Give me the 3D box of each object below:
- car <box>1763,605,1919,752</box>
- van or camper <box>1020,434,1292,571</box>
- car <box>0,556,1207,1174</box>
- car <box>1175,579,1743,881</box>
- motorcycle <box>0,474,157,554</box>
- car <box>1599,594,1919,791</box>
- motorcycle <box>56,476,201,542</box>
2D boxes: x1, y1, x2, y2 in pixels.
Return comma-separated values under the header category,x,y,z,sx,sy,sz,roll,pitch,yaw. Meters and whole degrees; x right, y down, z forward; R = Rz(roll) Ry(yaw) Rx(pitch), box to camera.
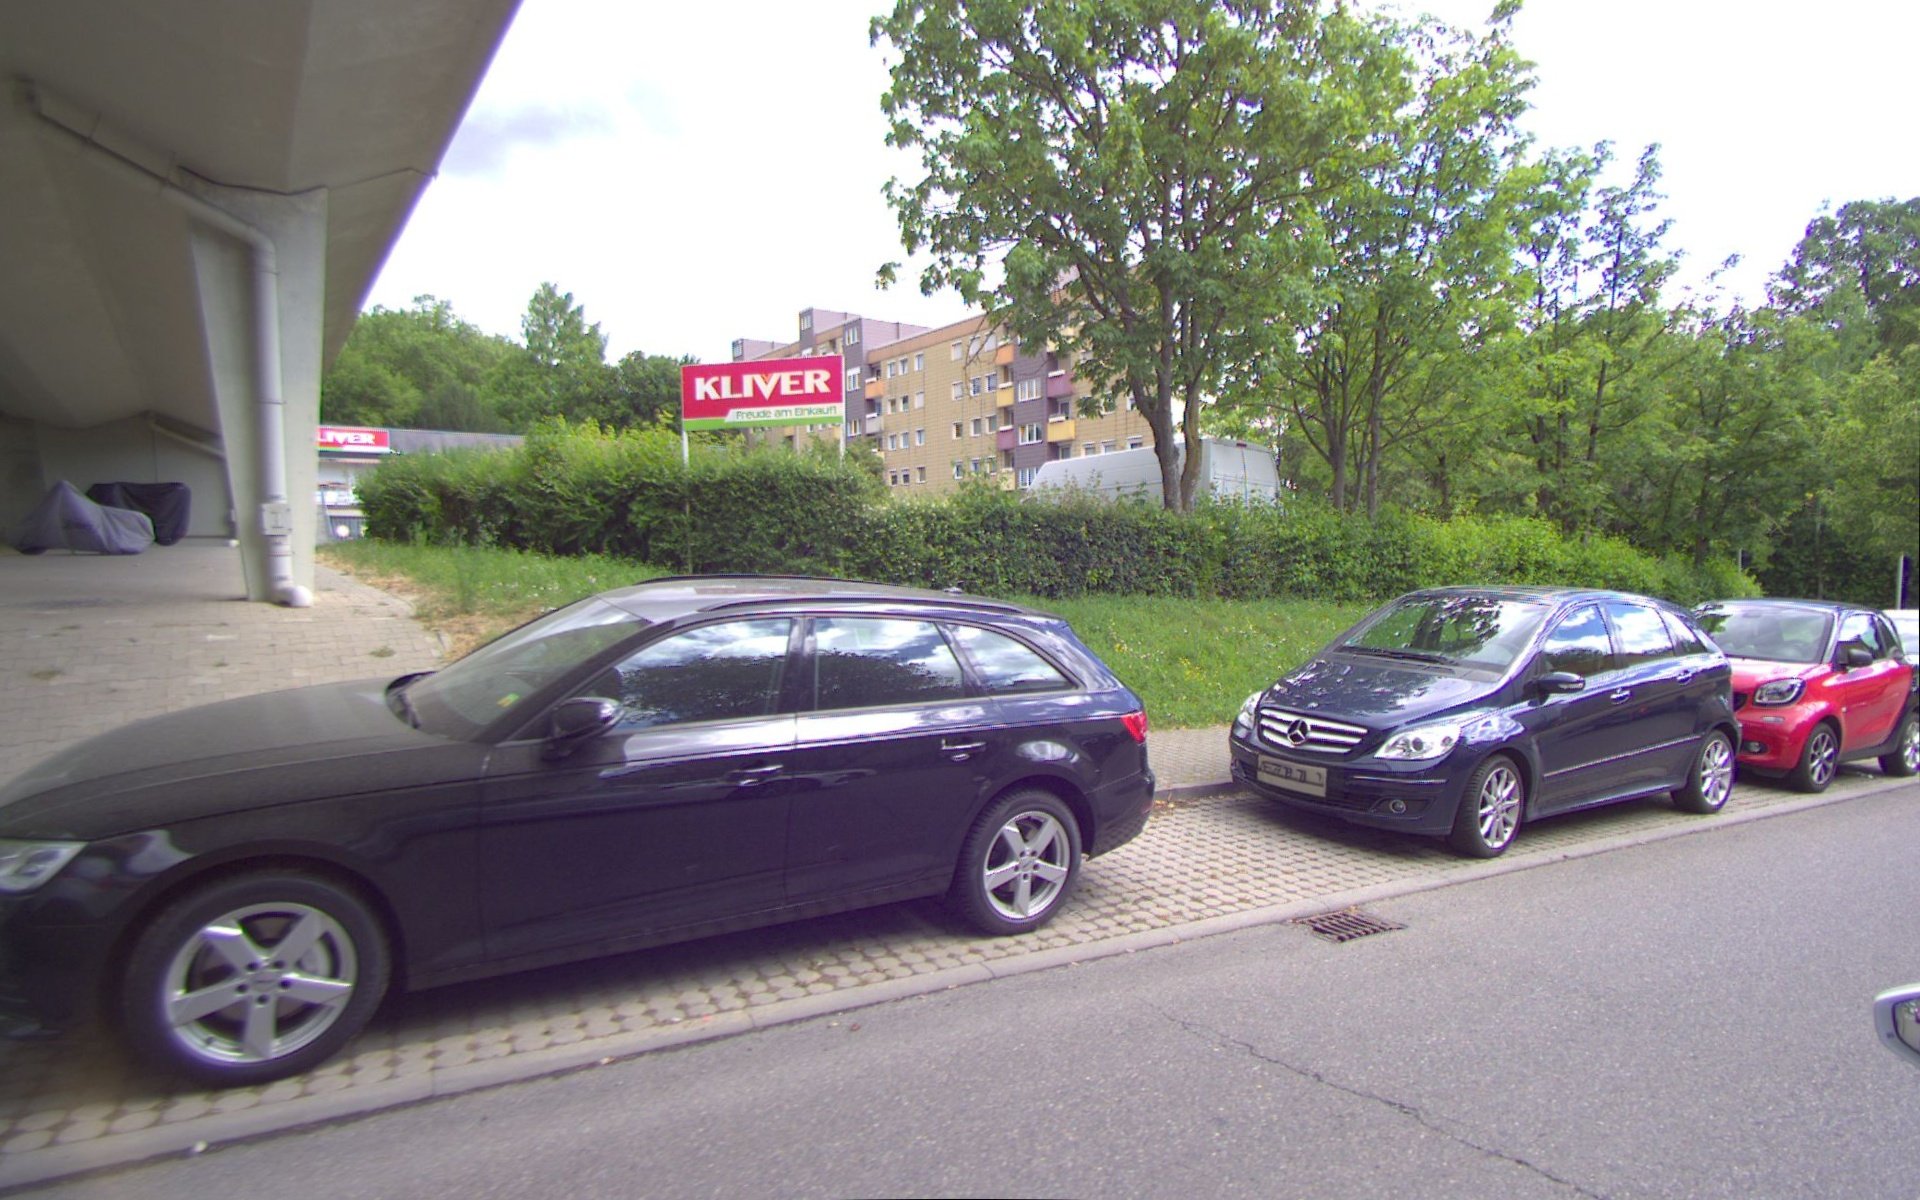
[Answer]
category,x,y,z,sx,sy,sz,roll,pitch,yaw
car,11.299,0.832,11.731,3.923,1.456,1.666,1,2,-30
van or camper,3.336,-1.607,18.127,1.979,2.114,4.822,-1,3,-34
car,-1.159,0.644,4.426,4.406,1.529,1.873,0,2,-34
car,3.628,0.706,7.215,3.794,1.580,1.874,1,3,-31
motorcycle,-15.019,-1.428,16.992,2.011,1.288,0.884,0,2,-12
car,7.500,0.750,9.317,2.679,1.526,1.522,1,2,-29
motorcycle,-17.700,-1.914,21.476,2.292,1.288,0.878,-1,3,-35
